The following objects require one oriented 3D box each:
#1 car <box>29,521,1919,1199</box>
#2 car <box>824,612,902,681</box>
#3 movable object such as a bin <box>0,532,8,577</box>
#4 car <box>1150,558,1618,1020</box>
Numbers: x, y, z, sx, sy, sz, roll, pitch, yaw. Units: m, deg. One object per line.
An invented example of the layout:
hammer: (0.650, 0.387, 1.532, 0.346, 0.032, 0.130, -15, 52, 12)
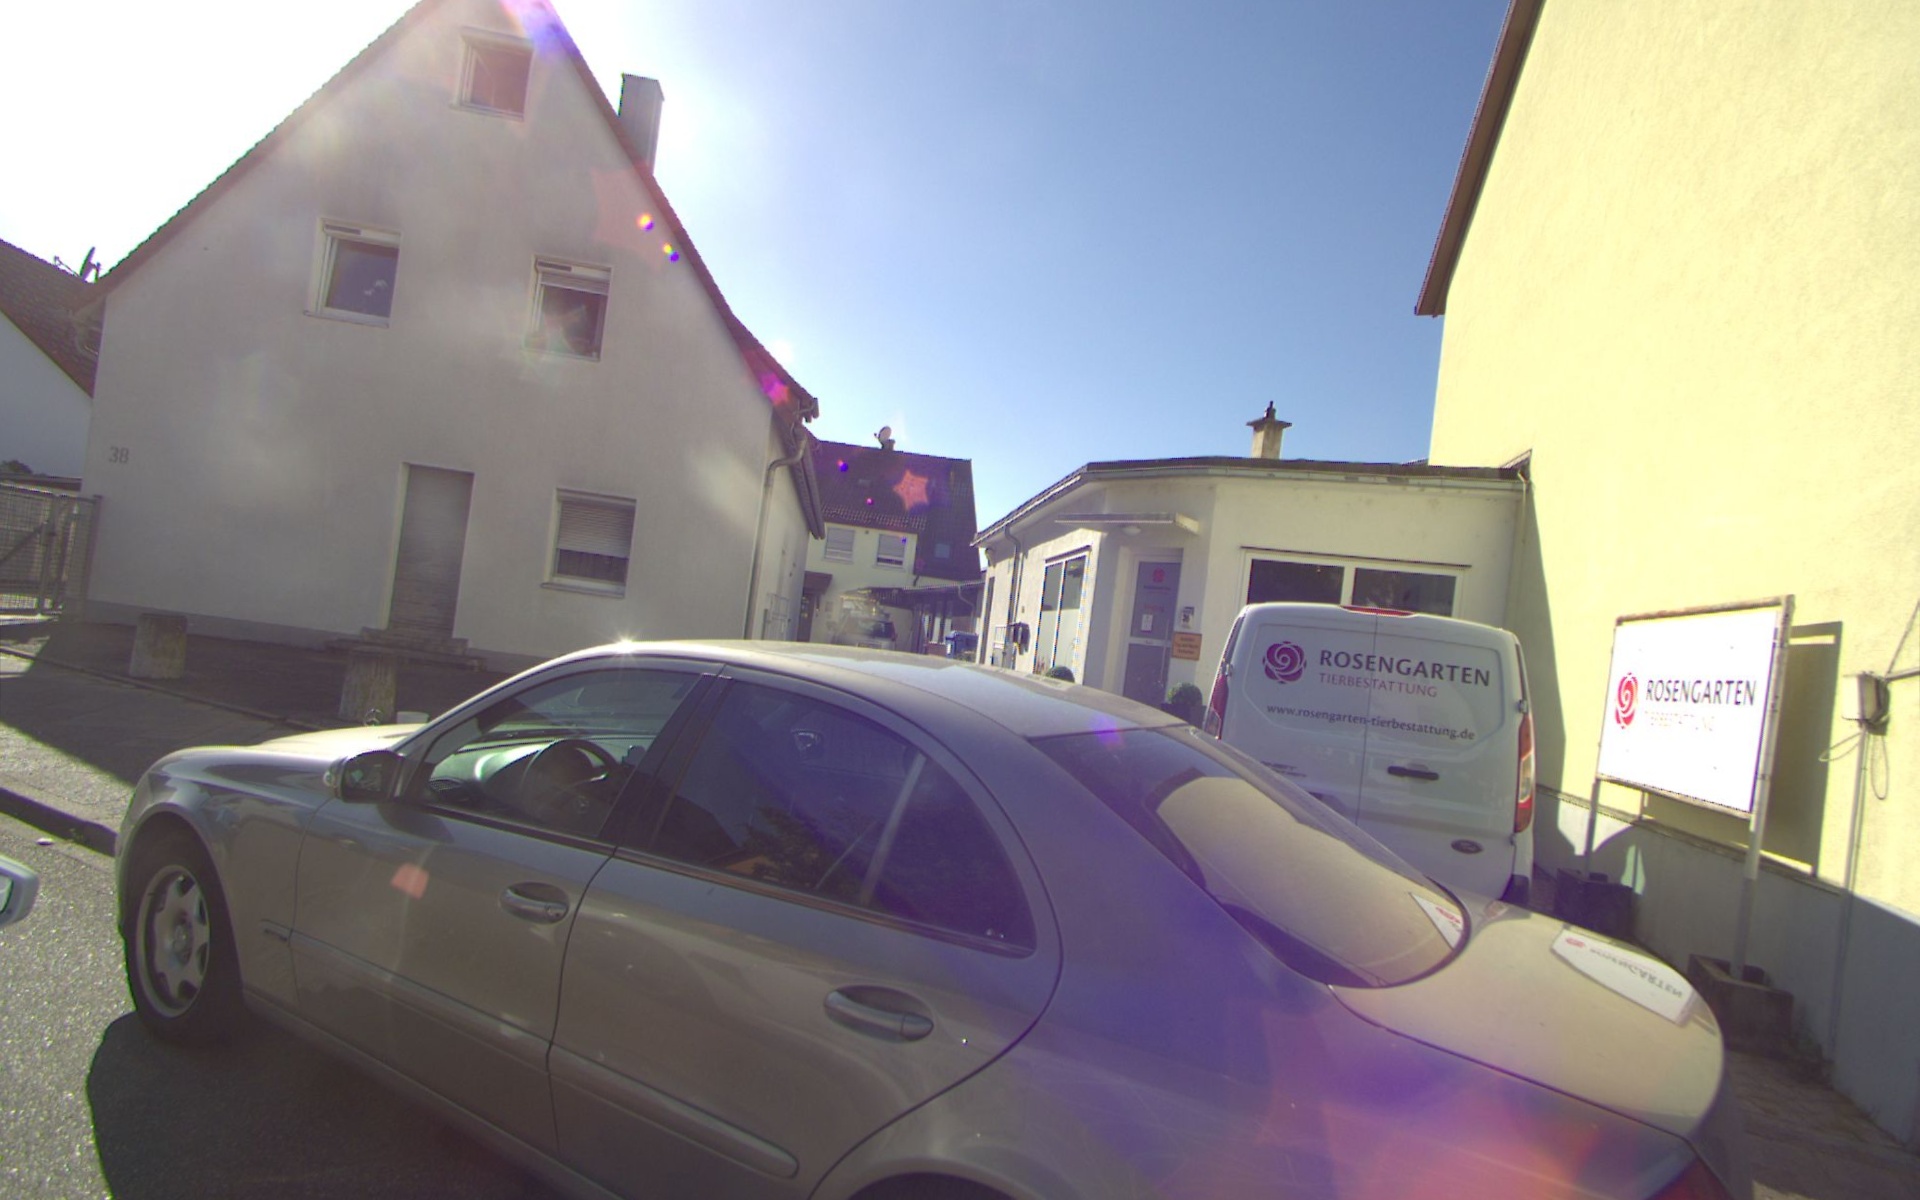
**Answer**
car: (-0.558, 0.796, 2.982, 4.580, 1.492, 1.816, 7, -2, 29)
car: (-2.656, 1.187, 26.837, 1.613, 1.524, 3.465, 8, -2, -10)
movable object such as a bin: (-17.910, -0.832, 18.366, 0.415, 0.932, 0.517, 8, -3, -4)
car: (2.699, 0.946, 7.112, 1.873, 1.910, 4.778, 7, 0, 18)
